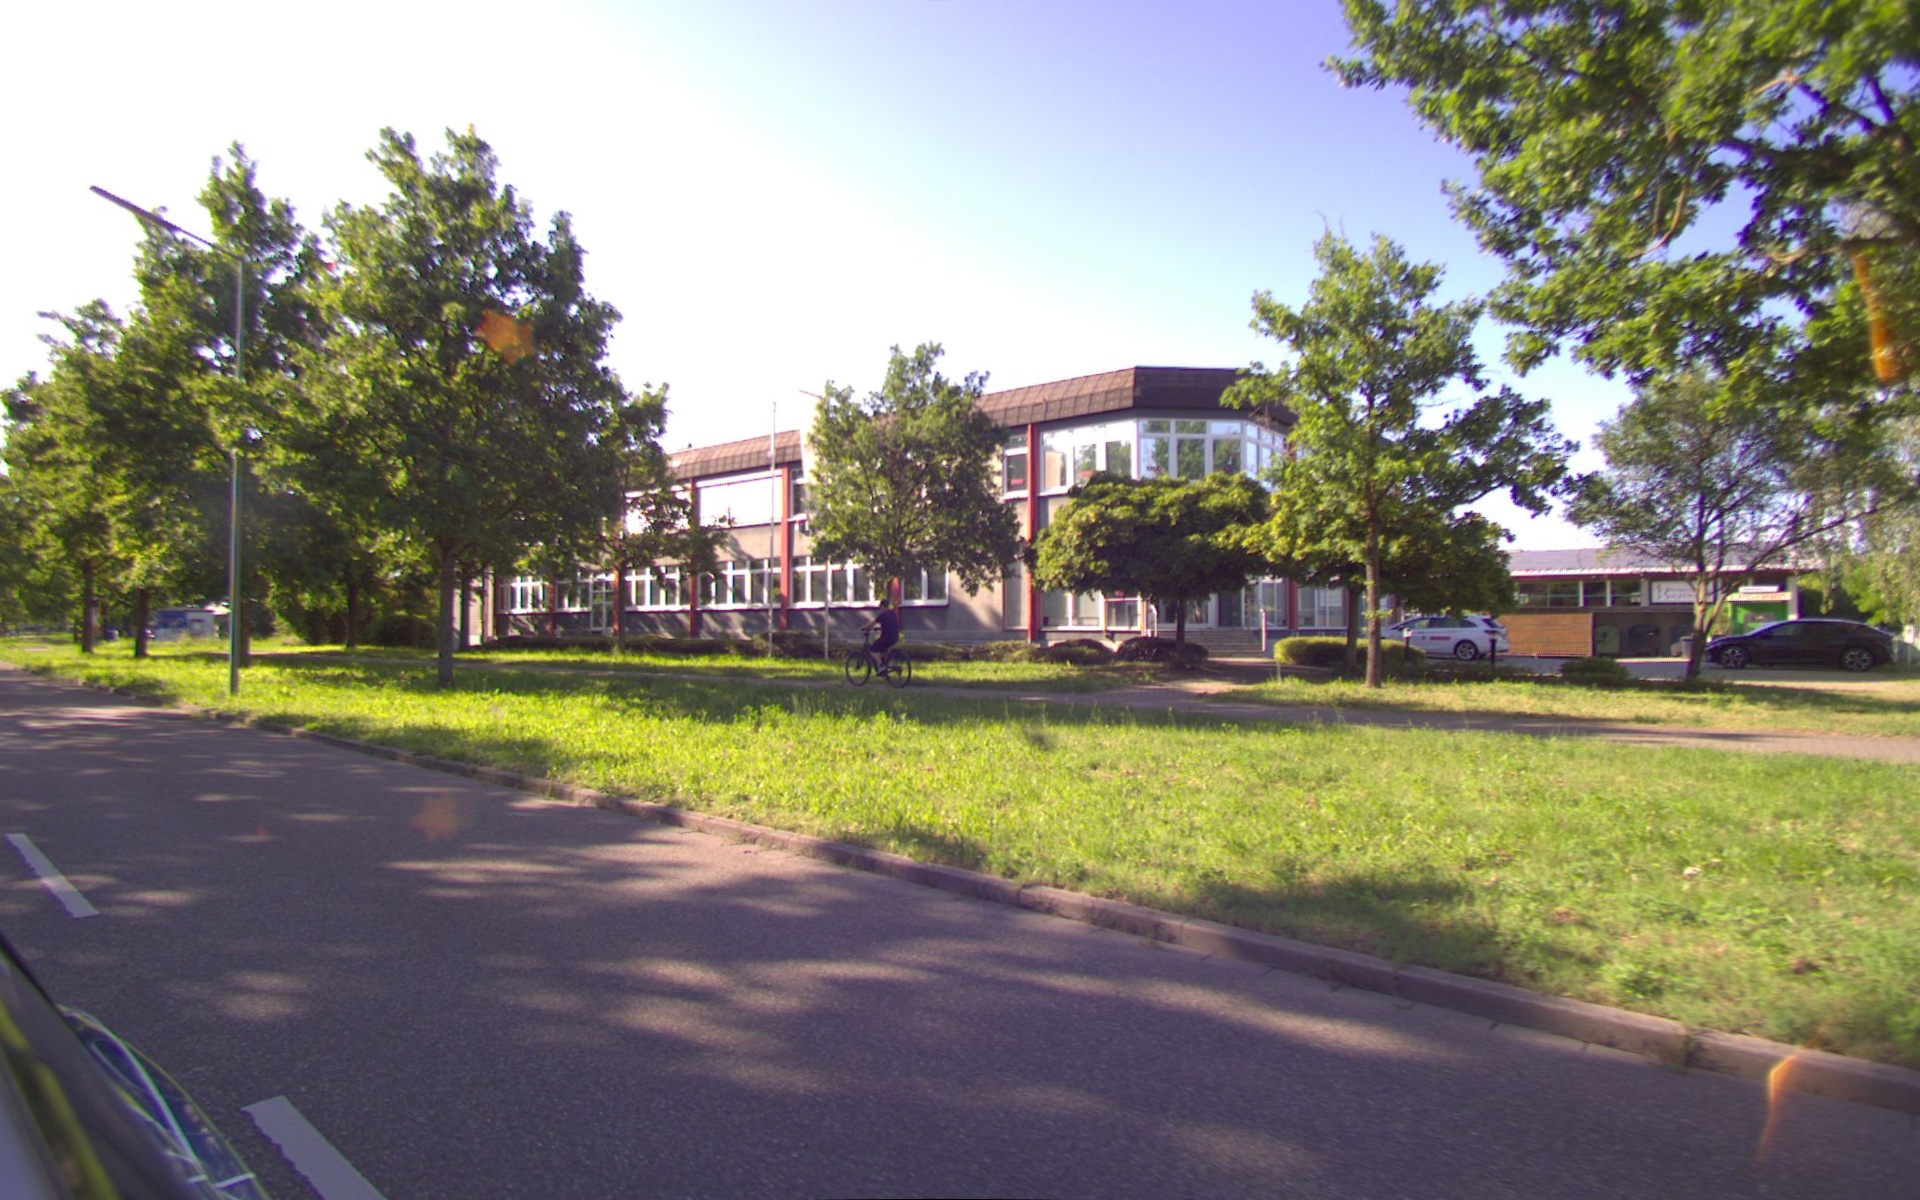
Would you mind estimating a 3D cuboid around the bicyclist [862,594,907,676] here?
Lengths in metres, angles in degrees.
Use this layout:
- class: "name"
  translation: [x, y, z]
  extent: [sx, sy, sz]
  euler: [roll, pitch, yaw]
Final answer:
- class: "bicyclist"
  translation: [-1.547, 0.705, 20.742]
  extent: [0.658, 1.641, 0.657]
  euler: [-1, 0, 41]

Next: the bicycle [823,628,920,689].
- class: "bicycle"
  translation: [-1.862, 1.196, 21.039]
  extent: [2.333, 1.170, 0.545]
  euler: [-1, 0, 41]

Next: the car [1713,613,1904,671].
- class: "car"
  translation: [25.502, 1.210, 30.634]
  extent: [4.293, 1.505, 1.974]
  euler: [1, 1, 38]

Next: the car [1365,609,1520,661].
- class: "car"
  translation: [15.921, 1.107, 33.497]
  extent: [4.293, 1.505, 1.974]
  euler: [1, 1, 38]
